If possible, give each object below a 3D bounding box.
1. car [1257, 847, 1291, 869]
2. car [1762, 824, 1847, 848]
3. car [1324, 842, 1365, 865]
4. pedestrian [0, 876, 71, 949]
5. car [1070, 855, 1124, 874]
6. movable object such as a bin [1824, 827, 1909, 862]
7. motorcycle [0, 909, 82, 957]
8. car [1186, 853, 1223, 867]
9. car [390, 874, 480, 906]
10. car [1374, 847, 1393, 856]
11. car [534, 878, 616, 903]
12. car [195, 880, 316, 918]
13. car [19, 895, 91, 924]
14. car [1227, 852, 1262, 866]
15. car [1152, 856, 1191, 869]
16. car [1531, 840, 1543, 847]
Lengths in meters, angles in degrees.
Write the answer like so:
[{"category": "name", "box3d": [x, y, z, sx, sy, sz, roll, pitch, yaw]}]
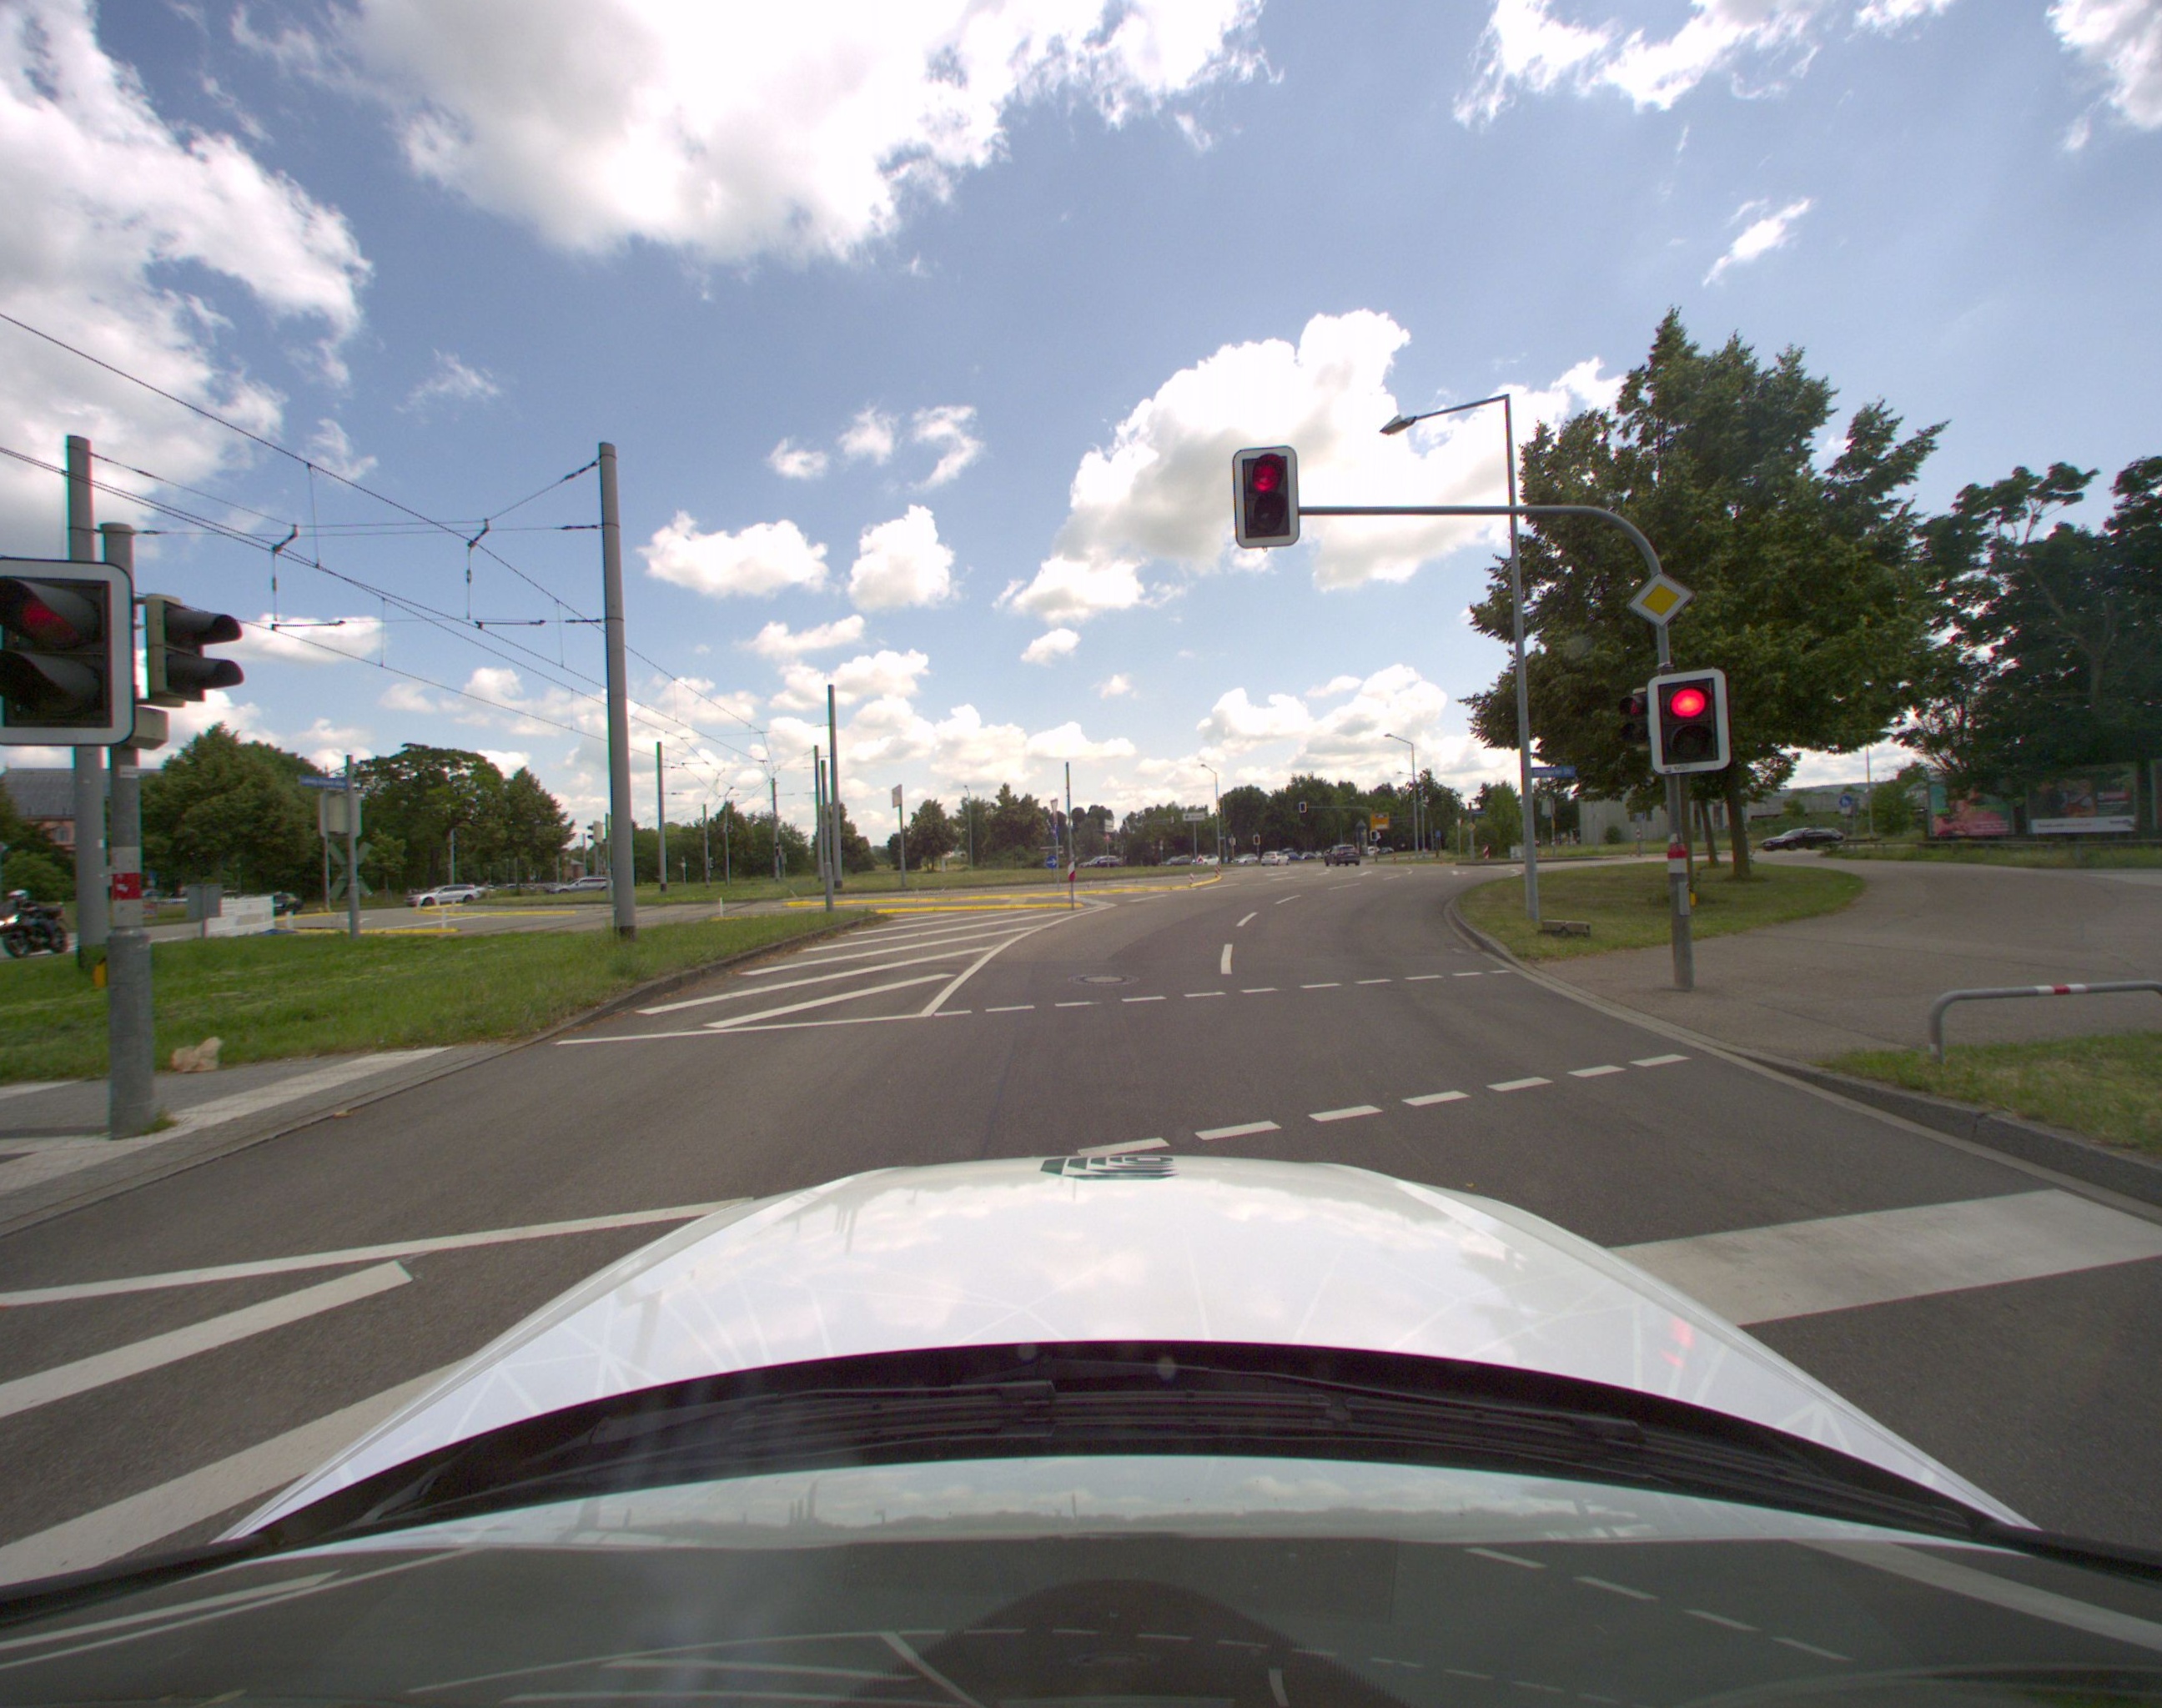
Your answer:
[{"category": "car", "box3d": [19.641, 0.414, 82.913, 1.974, 2.013, 4.026, -2, 0, 34]}, {"category": "car", "box3d": [46.724, -1.162, 52.636, 3.973, 1.463, 1.689, -1, 0, 1]}, {"category": "car", "box3d": [20.746, -0.045, 64.253, 1.985, 1.626, 4.314, -3, -1, 4]}, {"category": "pedestrian", "box3d": [-25.401, 1.407, 19.744, 0.826, 1.673, 0.769, -2, 0, -18]}, {"category": "car", "box3d": [1.622, 1.018, 80.946, 5.092, 1.674, 1.978, -2, 0, -35]}, {"category": "movable object such as a bin", "box3d": [90.975, -1.083, 94.379, 7.584, 3.852, 3.042, 0, -1, -7]}, {"category": "motorcycle", "box3d": [-25.316, 1.887, 19.519, 0.572, 0.993, 2.182, -2, 0, -16]}, {"category": "car", "box3d": [13.510, 0.677, 89.000, 1.974, 1.329, 4.338, -2, 0, 42]}, {"category": "car", "box3d": [-47.374, 2.587, 59.859, 1.977, 2.013, 4.750, -2, 0, 20]}, {"category": "car", "box3d": [51.359, -0.356, 138.381, 1.822, 1.486, 3.891, -1, -1, 40]}, {"category": "car", "box3d": [-39.145, 2.808, 63.167, 2.040, 1.626, 4.975, 0, 1, 31]}, {"category": "car", "box3d": [-50.643, 2.720, 50.078, 1.976, 2.013, 4.752, -2, 0, 23]}, {"category": "car", "box3d": [-81.271, 4.366, 64.595, 2.004, 2.013, 3.965, -2, 0, -27]}, {"category": "car", "box3d": [20.204, 0.594, 100.551, 2.097, 1.521, 4.535, -2, 0, 42]}, {"category": "car", "box3d": [10.210, 0.949, 91.479, 1.930, 1.323, 4.518, -2, 0, 45]}, {"category": "car", "box3d": [108.129, -2.499, 193.109, 1.822, 1.486, 3.891, -2, 0, 40]}]
